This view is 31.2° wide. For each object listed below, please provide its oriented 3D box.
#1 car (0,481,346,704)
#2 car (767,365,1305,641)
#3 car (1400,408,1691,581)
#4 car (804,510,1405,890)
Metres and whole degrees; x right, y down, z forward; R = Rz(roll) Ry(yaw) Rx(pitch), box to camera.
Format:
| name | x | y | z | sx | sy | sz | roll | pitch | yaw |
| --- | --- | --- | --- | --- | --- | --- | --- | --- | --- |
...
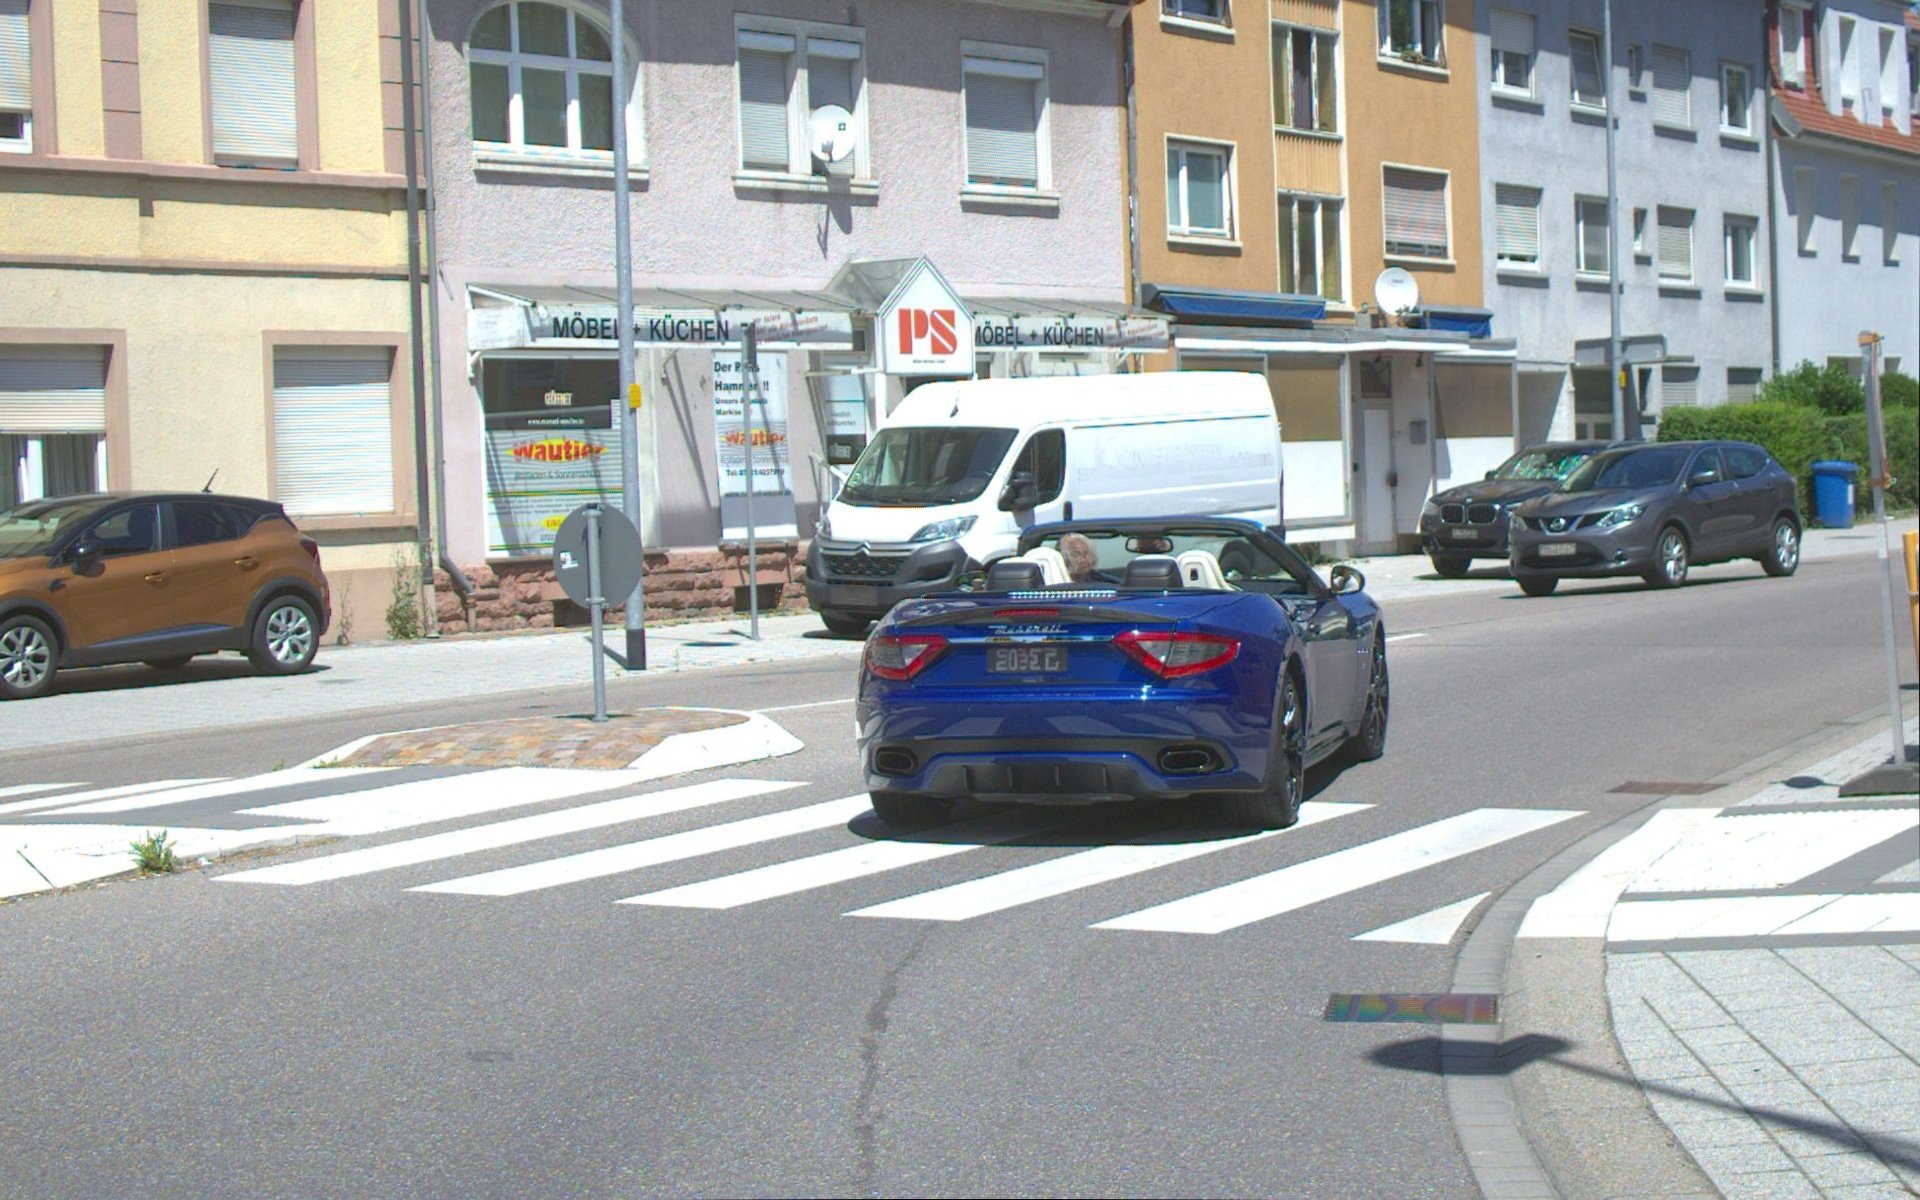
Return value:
| name | x | y | z | sx | sy | sz | roll | pitch | yaw |
| --- | --- | --- | --- | --- | --- | --- | --- | --- | --- |
| car | -7.109 | -0.100 | 27.947 | 1.602 | 1.611 | 4.082 | 2 | 4 | 39 |
| car | 0.912 | -1.064 | 34.536 | 2.149 | 2.524 | 6.225 | 2 | 4 | 37 |
| car | 7.374 | -1.348 | 43.037 | 2.071 | 2.006 | 3.993 | -1 | 2 | 34 |
| car | 0.856 | 0.395 | 16.326 | 1.872 | 1.525 | 4.504 | -2 | 0 | 15 |
